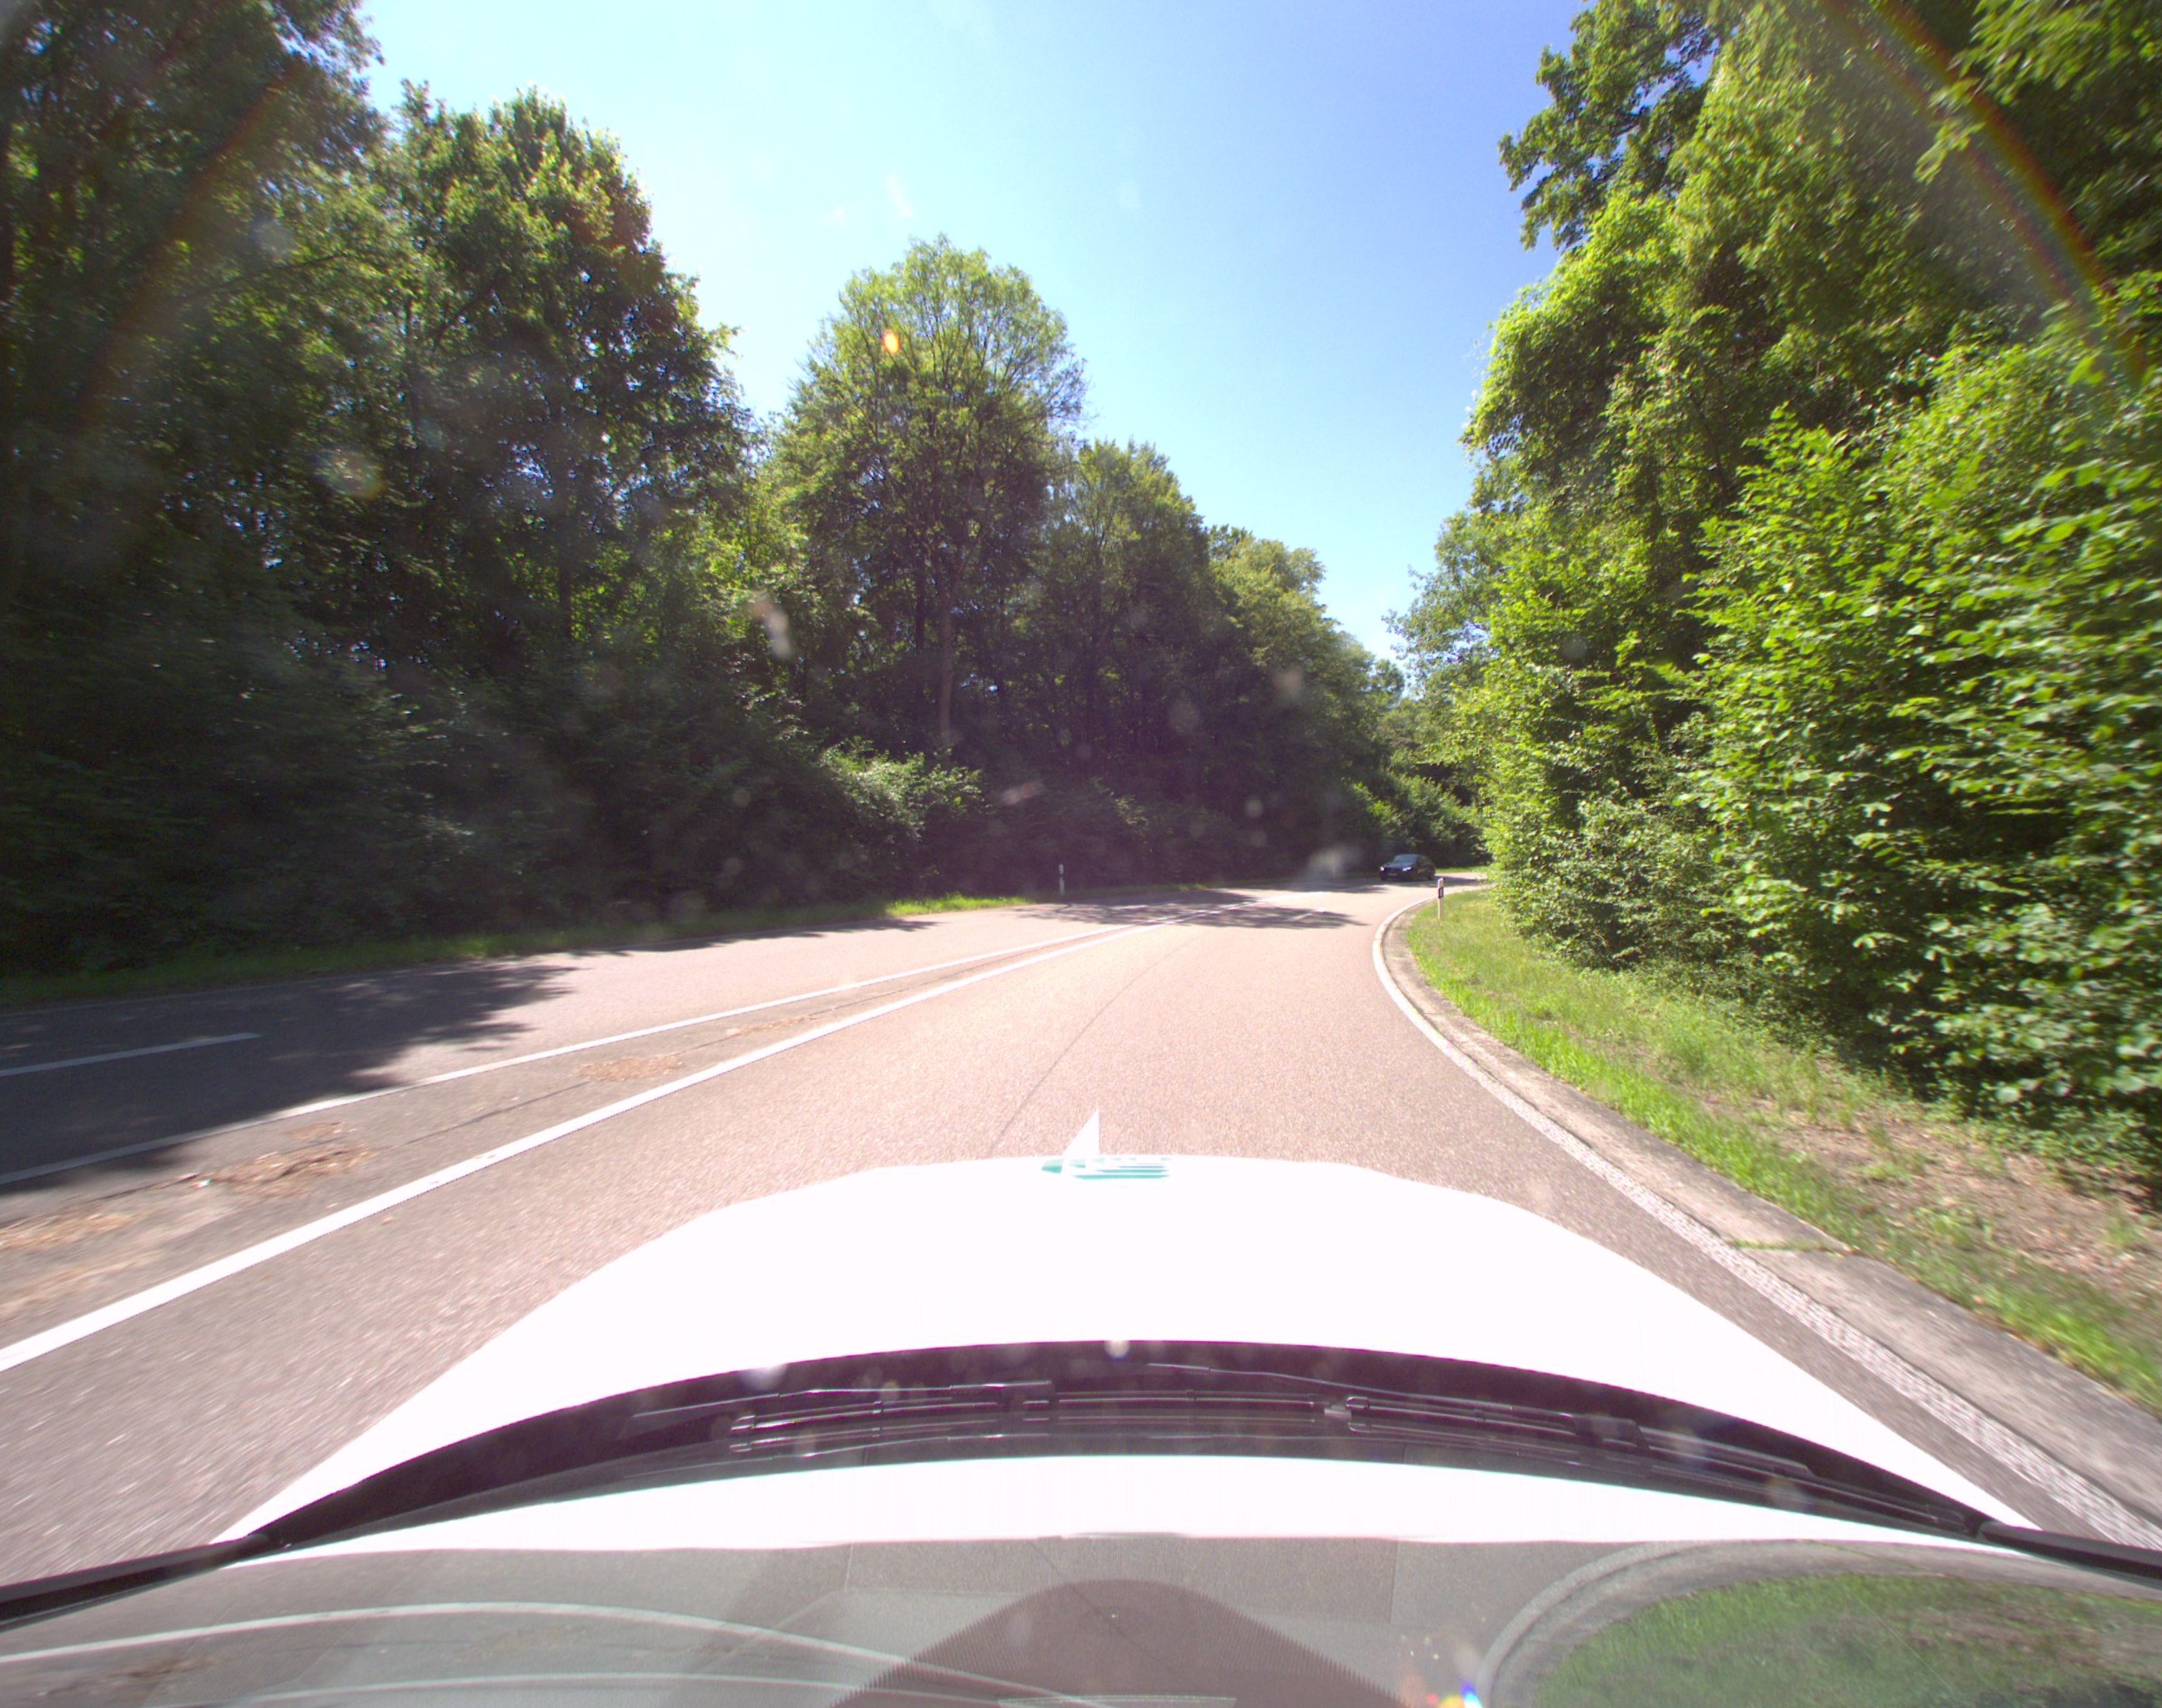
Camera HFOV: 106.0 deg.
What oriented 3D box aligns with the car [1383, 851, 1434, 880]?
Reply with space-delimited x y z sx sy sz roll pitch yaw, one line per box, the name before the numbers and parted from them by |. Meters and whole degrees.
car | 17.909 0.596 44.431 1.725 1.452 3.679 1 1 36
